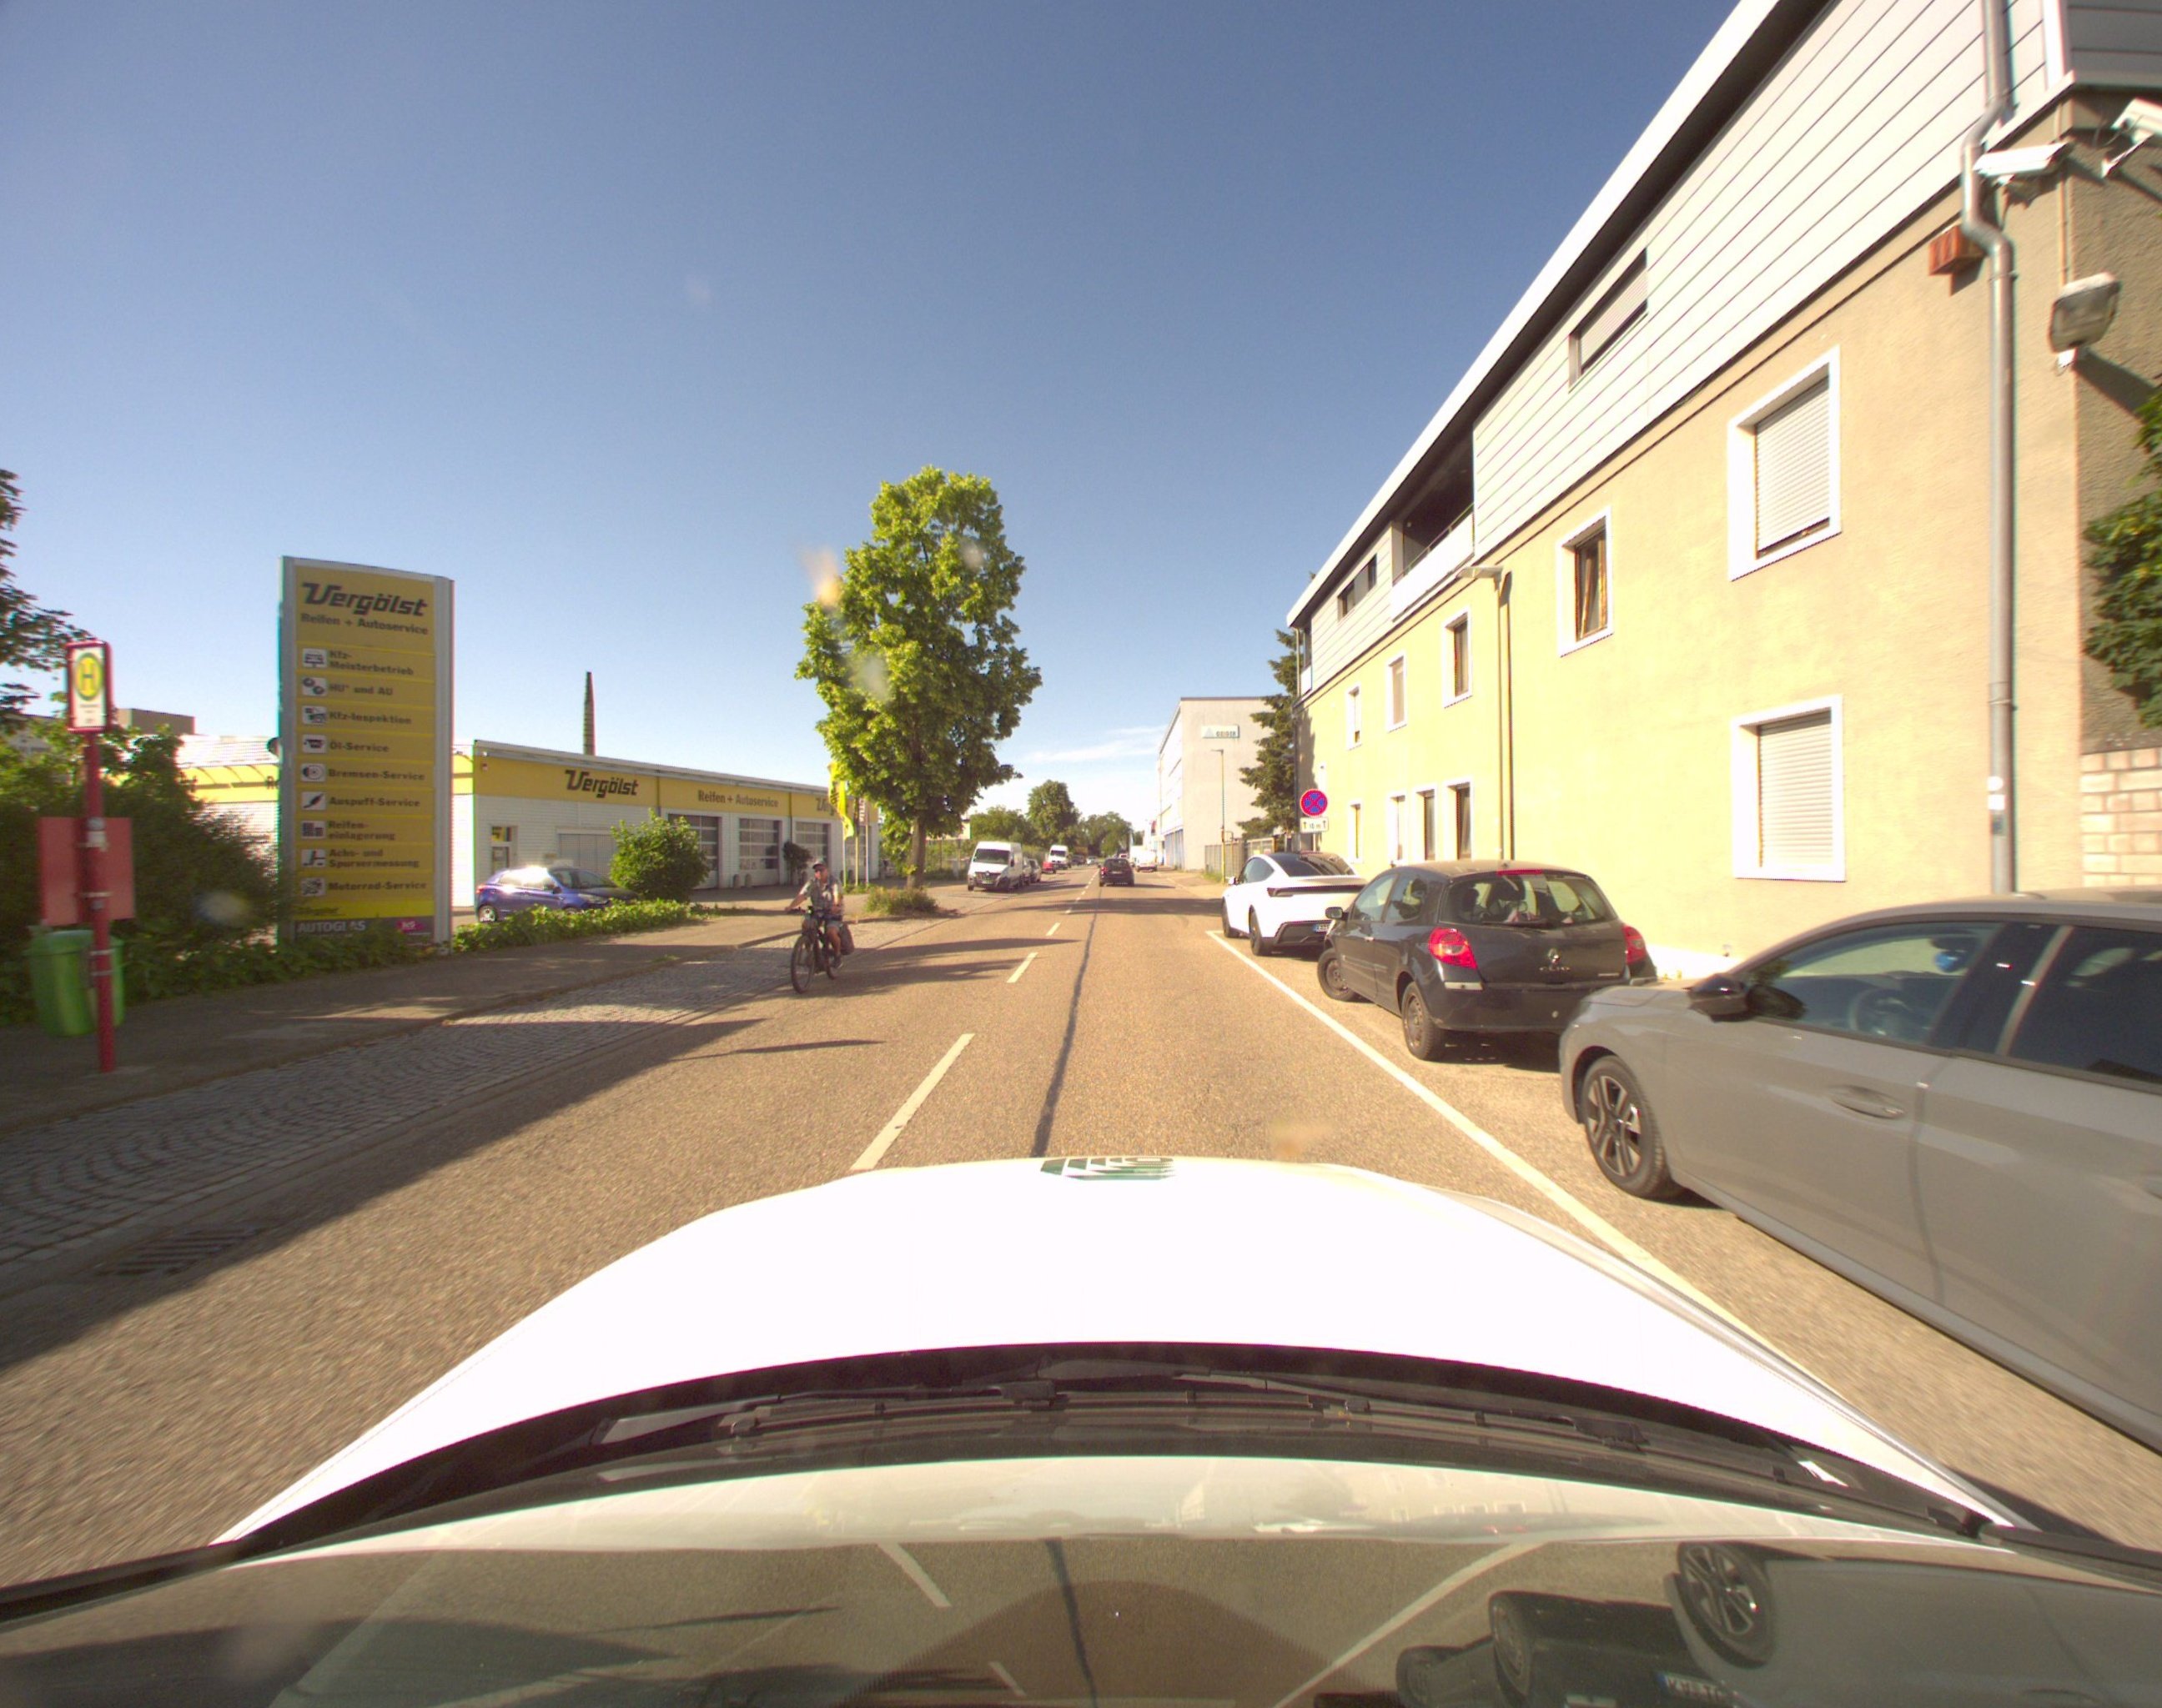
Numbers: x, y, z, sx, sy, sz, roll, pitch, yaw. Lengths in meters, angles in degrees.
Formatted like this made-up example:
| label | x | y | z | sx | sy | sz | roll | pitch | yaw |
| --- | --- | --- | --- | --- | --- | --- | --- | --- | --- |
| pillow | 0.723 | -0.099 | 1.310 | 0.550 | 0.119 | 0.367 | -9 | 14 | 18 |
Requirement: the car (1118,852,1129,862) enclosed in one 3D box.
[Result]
| label | x | y | z | sx | sy | sz | roll | pitch | yaw |
| --- | --- | --- | --- | --- | --- | --- | --- | --- | --- |
| car | 8.157 | 0.641 | 154.979 | 1.879 | 1.797 | 5.104 | 1 | -1 | 1 |

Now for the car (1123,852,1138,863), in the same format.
| label | x | y | z | sx | sy | sz | roll | pitch | yaw |
| --- | --- | --- | --- | --- | --- | --- | --- | --- | --- |
| car | 6.723 | 0.475 | 110.636 | 1.887 | 1.405 | 5.125 | 1 | -1 | 1 |

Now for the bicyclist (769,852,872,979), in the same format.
| label | x | y | z | sx | sy | sz | roll | pitch | yaw |
| --- | --- | --- | --- | --- | --- | --- | --- | --- | --- |
| bicyclist | -3.422 | 0.782 | 10.805 | 0.835 | 1.542 | 1.138 | -4 | -1 | 4 |

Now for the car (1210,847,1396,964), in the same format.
| label | x | y | z | sx | sy | sz | roll | pitch | yaw |
| --- | --- | --- | --- | --- | --- | --- | --- | --- | --- |
| car | 3.579 | 0.735 | 14.121 | 1.925 | 1.644 | 4.769 | -1 | 0 | 0 |

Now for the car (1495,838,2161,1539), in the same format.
| label | x | y | z | sx | sy | sz | roll | pitch | yaw |
| --- | --- | --- | --- | --- | --- | --- | --- | --- | --- |
| car | 3.197 | 0.713 | 2.754 | 1.653 | 1.505 | 4.034 | -1 | 0 | 2 |

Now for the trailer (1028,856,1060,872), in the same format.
| label | x | y | z | sx | sy | sz | roll | pitch | yaw |
| --- | --- | --- | --- | --- | --- | --- | --- | --- | --- |
| trailer | -3.218 | 0.862 | 71.951 | 2.367 | 1.080 | 6.247 | 3 | 1 | 1 |

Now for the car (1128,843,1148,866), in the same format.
| label | x | y | z | sx | sy | sz | roll | pitch | yaw |
| --- | --- | --- | --- | --- | --- | --- | --- | --- | --- |
| car | 6.850 | 0.055 | 98.879 | 1.987 | 2.597 | 6.051 | -3 | 1 | 0 |

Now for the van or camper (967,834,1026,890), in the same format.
| label | x | y | z | sx | sy | sz | roll | pitch | yaw |
| --- | --- | --- | --- | --- | --- | --- | --- | --- | --- |
| van or camper | -4.233 | 0.378 | 41.805 | 2.063 | 2.549 | 6.406 | 3 | 0 | 2 |

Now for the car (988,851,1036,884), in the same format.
| label | x | y | z | sx | sy | sz | roll | pitch | yaw |
| --- | --- | --- | --- | --- | --- | --- | --- | --- | --- |
| car | -3.938 | 0.756 | 47.353 | 1.984 | 1.738 | 4.581 | 3 | 0 | 5 |

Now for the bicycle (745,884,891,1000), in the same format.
| label | x | y | z | sx | sy | sz | roll | pitch | yaw |
| --- | --- | --- | --- | --- | --- | --- | --- | --- | --- |
| bicycle | -3.395 | 1.080 | 10.851 | 0.835 | 1.239 | 2.607 | -4 | -1 | 5 |

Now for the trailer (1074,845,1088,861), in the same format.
| label | x | y | z | sx | sy | sz | roll | pitch | yaw |
| --- | --- | --- | --- | --- | --- | --- | --- | --- | --- |
| trailer | -0.012 | -0.146 | 184.155 | 2.981 | 3.443 | 8.161 | -1 | 0 | 0 |

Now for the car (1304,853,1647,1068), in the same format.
| label | x | y | z | sx | sy | sz | roll | pitch | yaw |
| --- | --- | --- | --- | --- | --- | --- | --- | --- | --- |
| car | 3.328 | 0.753 | 7.804 | 1.591 | 1.473 | 4.196 | -1 | 0 | 6 |

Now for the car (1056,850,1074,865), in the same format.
| label | x | y | z | sx | sy | sz | roll | pitch | yaw |
| --- | --- | --- | --- | --- | --- | --- | --- | --- | --- |
| car | -2.026 | 0.410 | 103.840 | 2.023 | 1.694 | 5.106 | 3 | 0 | 0 |

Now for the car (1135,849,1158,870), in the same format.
| label | x | y | z | sx | sy | sz | roll | pitch | yaw |
| --- | --- | --- | --- | --- | --- | --- | --- | --- | --- |
| car | 5.862 | 0.492 | 73.228 | 1.881 | 1.832 | 5.094 | 0 | 0 | 3 |

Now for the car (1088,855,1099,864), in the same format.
| label | x | y | z | sx | sy | sz | roll | pitch | yaw |
| --- | --- | --- | --- | --- | --- | --- | --- | --- | --- |
| car | 2.148 | 0.848 | 136.666 | 1.740 | 1.447 | 4.362 | -1 | 0 | 2 |

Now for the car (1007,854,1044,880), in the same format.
| label | x | y | z | sx | sy | sz | roll | pitch | yaw |
| --- | --- | --- | --- | --- | --- | --- | --- | --- | --- |
| car | -3.526 | 0.824 | 52.629 | 1.793 | 1.510 | 5.005 | 3 | 0 | 2 |

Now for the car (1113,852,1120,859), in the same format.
| label | x | y | z | sx | sy | sz | roll | pitch | yaw |
| --- | --- | --- | --- | --- | --- | --- | --- | --- | --- |
| car | 9.608 | 0.439 | 221.503 | 1.867 | 2.014 | 5.162 | 1 | -1 | 2 |

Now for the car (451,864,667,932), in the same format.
| label | x | y | z | sx | sy | sz | roll | pitch | yaw |
| --- | --- | --- | --- | --- | --- | --- | --- | --- | --- |
| car | -12.616 | 1.025 | 19.764 | 4.312 | 1.508 | 2.008 | -1 | 0 | 15 |

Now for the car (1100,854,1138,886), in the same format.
| label | x | y | z | sx | sy | sz | roll | pitch | yaw |
| --- | --- | --- | --- | --- | --- | --- | --- | --- | --- |
| car | 1.930 | 0.797 | 41.991 | 1.840 | 1.530 | 4.002 | -1 | 0 | 2 |

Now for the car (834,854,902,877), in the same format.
| label | x | y | z | sx | sy | sz | roll | pitch | yaw |
| --- | --- | --- | --- | --- | --- | --- | --- | --- | --- |
| car | -14.942 | 0.792 | 57.137 | 4.130 | 1.574 | 1.922 | -1 | 0 | 11 |

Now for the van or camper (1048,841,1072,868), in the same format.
| label | x | y | z | sx | sy | sz | roll | pitch | yaw |
| --- | --- | --- | --- | --- | --- | --- | --- | --- | --- |
| van or camper | -2.326 | 0.036 | 90.581 | 1.958 | 2.685 | 5.953 | 4 | 0 | 3 |

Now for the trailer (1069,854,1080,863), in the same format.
| label | x | y | z | sx | sy | sz | roll | pitch | yaw |
| --- | --- | --- | --- | --- | --- | --- | --- | --- | --- |
| trailer | -0.980 | 0.678 | 125.058 | 1.471 | 1.354 | 3.079 | 1 | 0 | 2 |

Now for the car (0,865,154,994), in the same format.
| label | x | y | z | sx | sy | sz | roll | pitch | yaw |
| --- | --- | --- | --- | --- | --- | --- | --- | --- | --- |
| car | -14.838 | 0.940 | 10.527 | 4.037 | 1.515 | 1.778 | -1 | 0 | 7 |
